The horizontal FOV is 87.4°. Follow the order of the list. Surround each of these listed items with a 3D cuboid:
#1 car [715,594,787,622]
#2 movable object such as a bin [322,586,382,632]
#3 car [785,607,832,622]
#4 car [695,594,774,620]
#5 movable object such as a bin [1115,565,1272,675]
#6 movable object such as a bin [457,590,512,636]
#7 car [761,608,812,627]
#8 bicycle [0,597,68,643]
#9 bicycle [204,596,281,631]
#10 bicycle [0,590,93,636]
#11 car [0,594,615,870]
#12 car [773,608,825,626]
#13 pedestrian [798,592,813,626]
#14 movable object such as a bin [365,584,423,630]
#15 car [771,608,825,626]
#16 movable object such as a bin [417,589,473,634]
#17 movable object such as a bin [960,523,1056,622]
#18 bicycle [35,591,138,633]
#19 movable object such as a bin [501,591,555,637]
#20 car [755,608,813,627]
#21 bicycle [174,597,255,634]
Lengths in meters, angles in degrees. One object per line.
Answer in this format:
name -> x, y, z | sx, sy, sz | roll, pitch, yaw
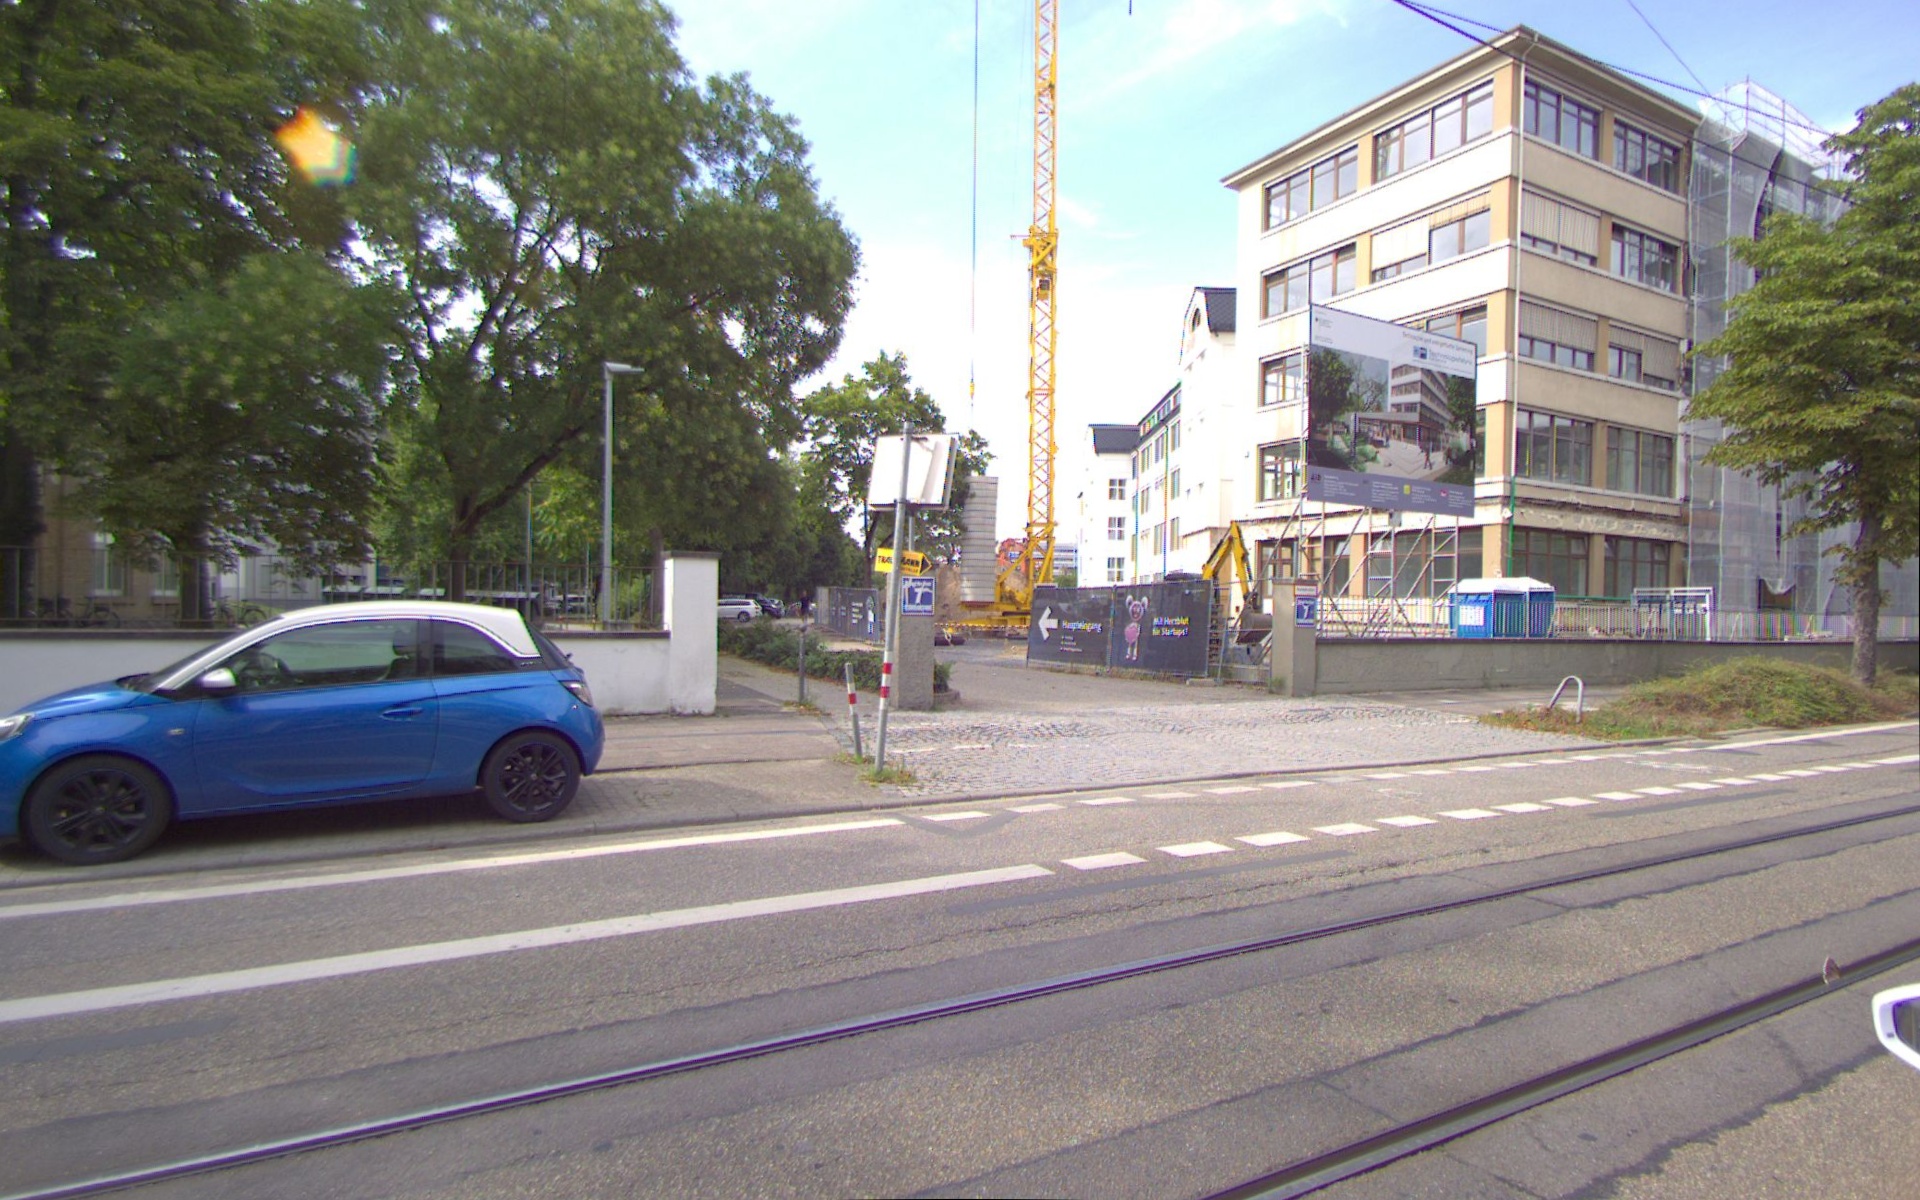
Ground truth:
car -> -15.659, 0.604, 75.500 | 4.965, 1.979, 1.999 | 2, 0, -3
movable object such as a bin -> -20.010, 0.289, 33.068 | 1.259, 1.449, 1.122 | 2, 0, -1
car -> -15.872, 1.532, 105.485 | 4.719, 1.508, 1.998 | 2, 0, -7
car -> -14.349, 0.477, 64.203 | 4.719, 1.508, 1.998 | 2, 0, -7
movable object such as a bin -> 5.614, 0.484, 24.515 | 2.459, 2.475, 3.048 | 2, 0, -19
movable object such as a bin -> -15.736, 0.422, 33.241 | 1.259, 1.449, 1.122 | 2, 0, -1
car -> -15.215, 1.516, 88.262 | 4.268, 1.564, 1.751 | 2, 0, -7
bicycle -> -22.529, 0.463, 23.932 | 1.940, 1.057, 0.594 | 2, 0, -4
bicycle -> -22.837, 0.431, 31.986 | 1.940, 1.057, 0.594 | 2, 0, -4
bicycle -> -22.611, 0.317, 24.713 | 1.940, 1.057, 0.594 | 2, 0, -4
car -> -4.369, 0.742, 6.869 | 3.560, 1.484, 1.620 | 1, 0, -30
car -> -15.104, 1.587, 94.409 | 4.719, 1.508, 1.998 | 2, 0, -7
pedestrian -> -8.315, 0.482, 54.017 | 0.736, 1.813, 0.730 | 2, 0, -7
movable object such as a bin -> -18.647, 0.241, 33.127 | 1.259, 1.449, 1.122 | 2, 0, -1
car -> -14.730, 1.526, 91.582 | 4.719, 1.508, 1.998 | 2, 0, -7
movable object such as a bin -> -17.074, 0.381, 33.320 | 1.259, 1.449, 1.122 | 2, 0, -1
movable object such as a bin -> 3.774, -1.826, 74.574 | 3.781, 6.758, 10.987 | 2, 0, 20
bicycle -> -23.006, 0.316, 26.497 | 1.953, 1.057, 0.590 | 1, 0, -28
movable object such as a bin -> -14.219, 0.458, 33.071 | 1.259, 1.449, 1.122 | 2, 0, -1
car -> -14.979, 1.484, 85.597 | 4.719, 1.508, 1.998 | 2, 0, -7
bicycle -> -22.725, 0.459, 30.632 | 1.940, 1.057, 0.594 | 2, 0, -4
